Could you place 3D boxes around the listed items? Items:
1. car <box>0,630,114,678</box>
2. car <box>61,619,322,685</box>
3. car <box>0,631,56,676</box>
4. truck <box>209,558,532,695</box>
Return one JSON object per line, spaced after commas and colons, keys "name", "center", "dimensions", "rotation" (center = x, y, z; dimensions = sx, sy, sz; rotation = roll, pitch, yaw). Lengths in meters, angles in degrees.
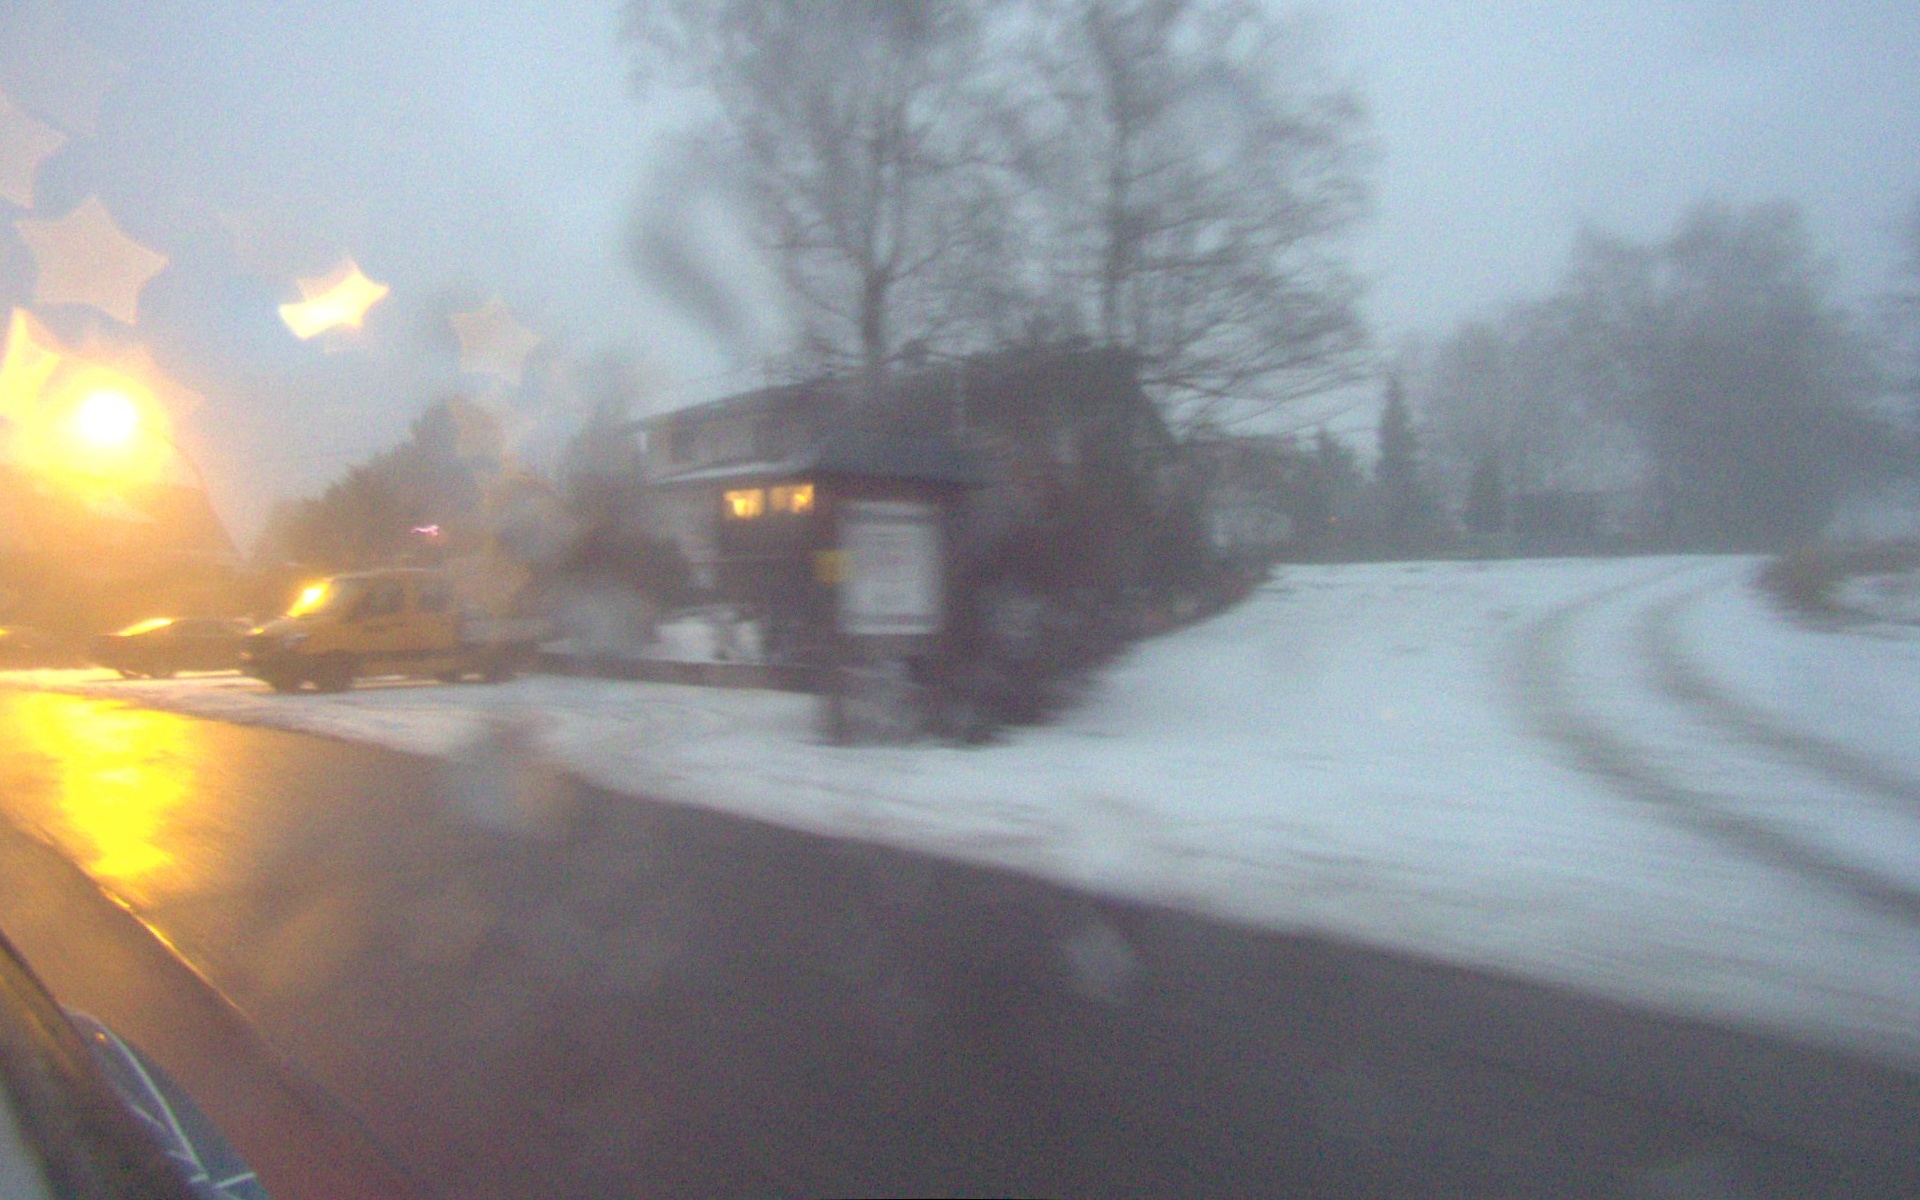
{"name": "car", "center": [-30.376, 1.753, 33.001], "dimensions": [1.928, 1.483, 3.832], "rotation": [-2, -3, 26]}
{"name": "car", "center": [-19.278, 1.301, 25.659], "dimensions": [2.115, 1.496, 4.853], "rotation": [-2, -3, 30]}
{"name": "car", "center": [-35.400, 1.924, 35.900], "dimensions": [2.096, 1.578, 4.508], "rotation": [-2, -3, 22]}
{"name": "truck", "center": [-11.332, 0.575, 19.961], "dimensions": [1.992, 2.320, 5.225], "rotation": [-3, -3, 29]}
